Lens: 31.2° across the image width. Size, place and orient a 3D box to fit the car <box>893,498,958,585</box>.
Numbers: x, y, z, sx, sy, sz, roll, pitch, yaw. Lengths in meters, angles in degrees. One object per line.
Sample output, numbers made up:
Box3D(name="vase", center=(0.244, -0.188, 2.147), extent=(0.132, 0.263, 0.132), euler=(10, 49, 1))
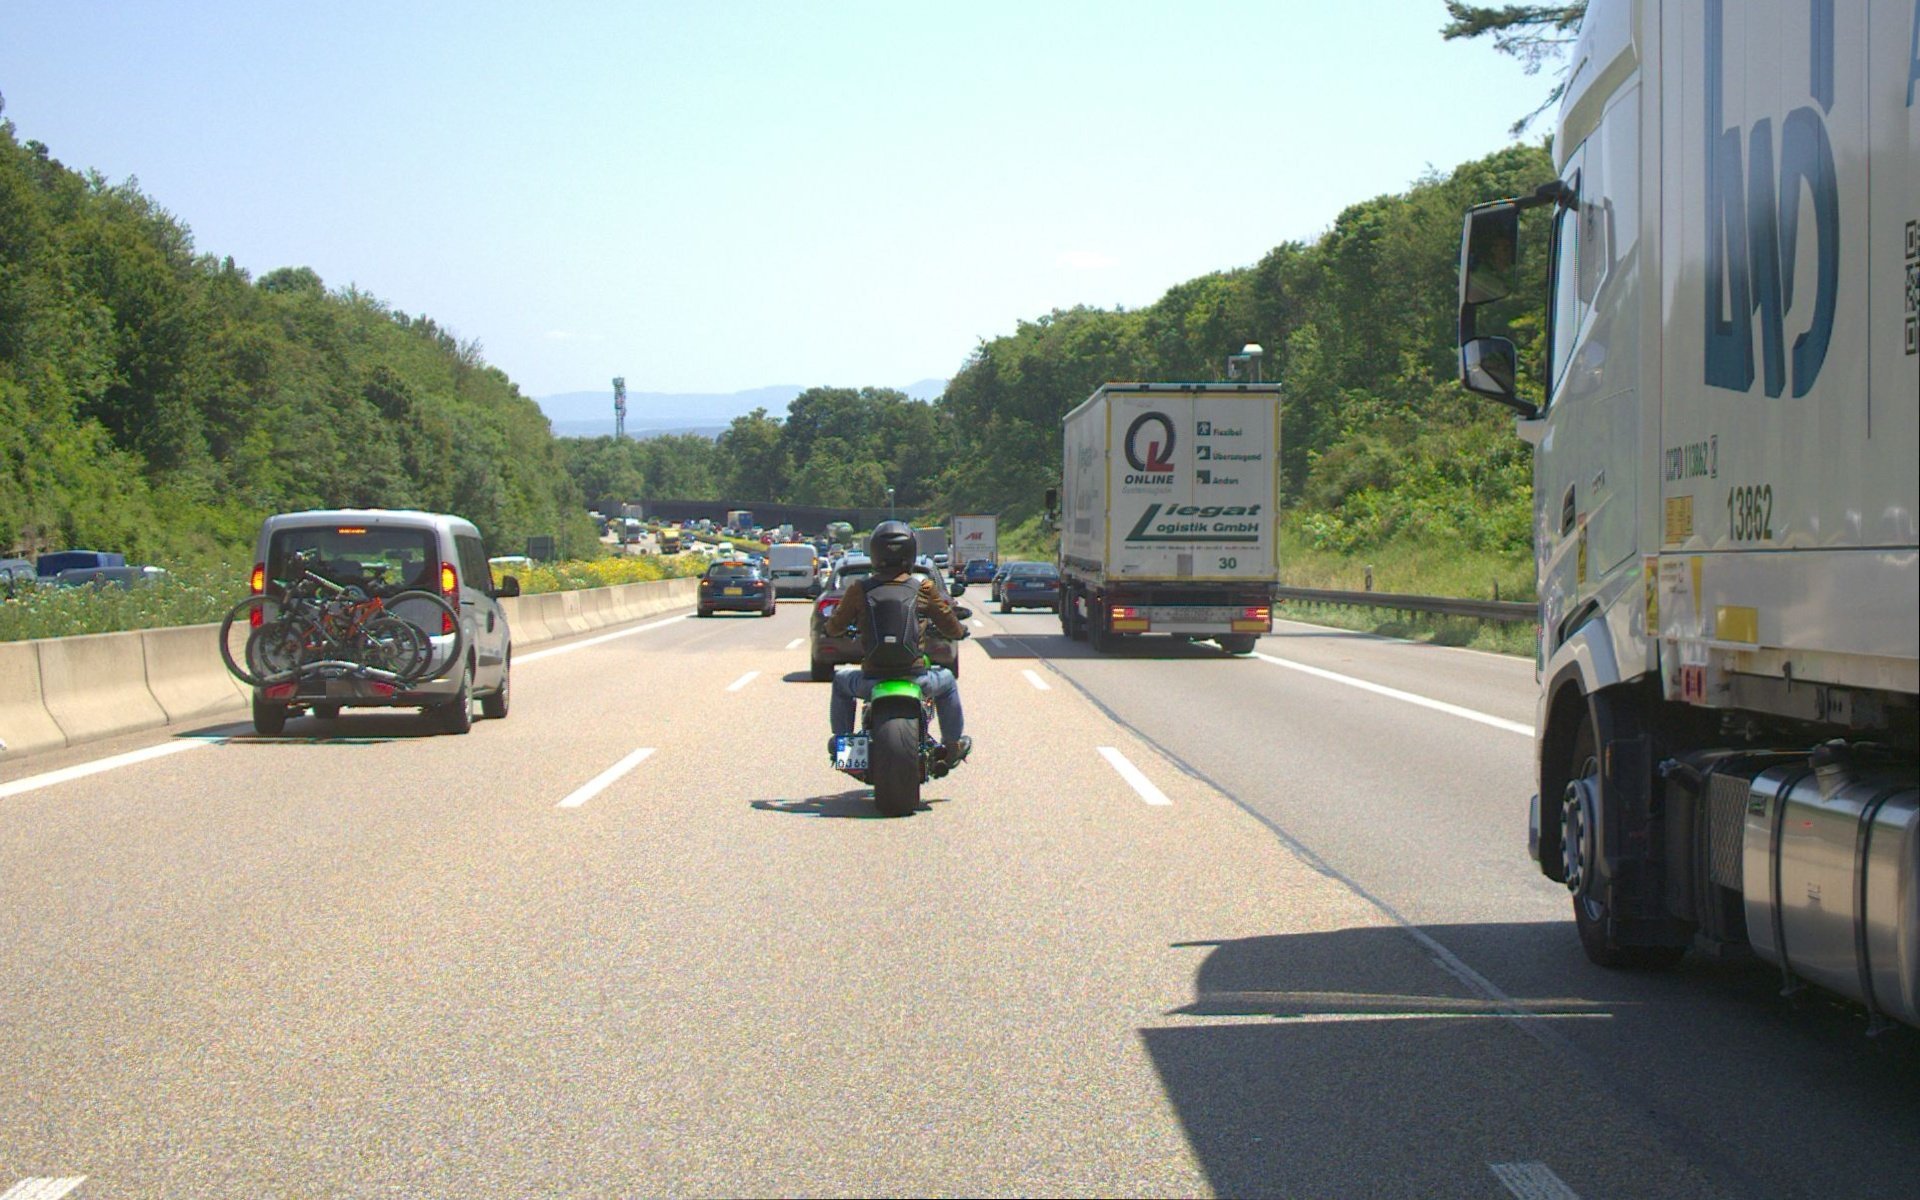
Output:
Box3D(name="car", center=(-1.042, -1.764, 101.879), extent=(1.831, 2.481, 4.645), euler=(1, 2, -1))

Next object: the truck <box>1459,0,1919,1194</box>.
Box3D(name="truck", center=(3.502, -0.704, 8.745), extent=(2.680, 4.045, 10.627), euler=(0, 2, -1))

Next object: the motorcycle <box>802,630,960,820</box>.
Box3D(name="motorcycle", center=(-0.434, 0.696, 19.992), extent=(0.862, 0.978, 2.131), euler=(0, 1, 0))

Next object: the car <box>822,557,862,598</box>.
Box3D(name="car", center=(-5.553, -1.084, 162.542), extent=(1.831, 1.804, 4.120), euler=(1, 2, -1))

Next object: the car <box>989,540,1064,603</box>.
Box3D(name="car", center=(1.770, -0.795, 92.419), extent=(1.831, 1.553, 4.120), euler=(1, 2, -1))

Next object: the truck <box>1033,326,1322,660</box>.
Box3D(name="truck", center=(3.297, -1.799, 58.085), extent=(3.383, 4.701, 17.711), euler=(2, 2, -1))

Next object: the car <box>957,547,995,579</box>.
Box3D(name="car", center=(0.830, -1.950, 179.861), extent=(1.831, 1.553, 4.120), euler=(1, 2, -1))

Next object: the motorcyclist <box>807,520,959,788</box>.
Box3D(name="motorcyclist", center=(-0.434, 0.297, 19.872), extent=(0.856, 1.510, 0.914), euler=(0, 1, 0))

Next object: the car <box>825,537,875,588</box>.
Box3D(name="car", center=(-4.099, -1.415, 128.647), extent=(1.831, 1.804, 4.120), euler=(1, 2, -1))

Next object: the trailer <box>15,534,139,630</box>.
Box3D(name="trailer", center=(-20.295, -0.439, 79.149), extent=(1.895, 2.109, 3.495), euler=(-1, 1, 0))

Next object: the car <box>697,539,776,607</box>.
Box3D(name="car", center=(-5.509, -0.682, 85.108), extent=(1.757, 1.538, 4.396), euler=(1, 2, -1))

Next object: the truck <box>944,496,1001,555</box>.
Box3D(name="truck", center=(0.703, -4.445, 203.719), extent=(3.067, 3.335, 9.653), euler=(2, 2, -1))

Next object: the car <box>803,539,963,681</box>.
Box3D(name="car", center=(-0.937, 0.076, 42.113), extent=(1.845, 1.552, 4.440), euler=(1, 2, -1))

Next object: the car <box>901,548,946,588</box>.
Box3D(name="car", center=(-1.564, -1.364, 145.223), extent=(1.831, 1.553, 4.120), euler=(1, 2, -1))

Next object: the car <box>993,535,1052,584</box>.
Box3D(name="car", center=(2.128, -1.395, 117.511), extent=(1.831, 1.553, 4.120), euler=(1, 2, -1))

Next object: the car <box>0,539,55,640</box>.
Box3D(name="car", center=(-15.380, -0.156, 52.797), extent=(1.788, 1.516, 4.203), euler=(-1, 1, 0))

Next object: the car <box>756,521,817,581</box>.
Box3D(name="car", center=(-5.572, -1.603, 110.807), extent=(1.831, 1.804, 4.120), euler=(1, 2, -1))

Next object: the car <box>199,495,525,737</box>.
Box3D(name="car", center=(-4.937, 0.061, 29.138), extent=(1.898, 1.841, 5.484), euler=(1, 1, -1))
